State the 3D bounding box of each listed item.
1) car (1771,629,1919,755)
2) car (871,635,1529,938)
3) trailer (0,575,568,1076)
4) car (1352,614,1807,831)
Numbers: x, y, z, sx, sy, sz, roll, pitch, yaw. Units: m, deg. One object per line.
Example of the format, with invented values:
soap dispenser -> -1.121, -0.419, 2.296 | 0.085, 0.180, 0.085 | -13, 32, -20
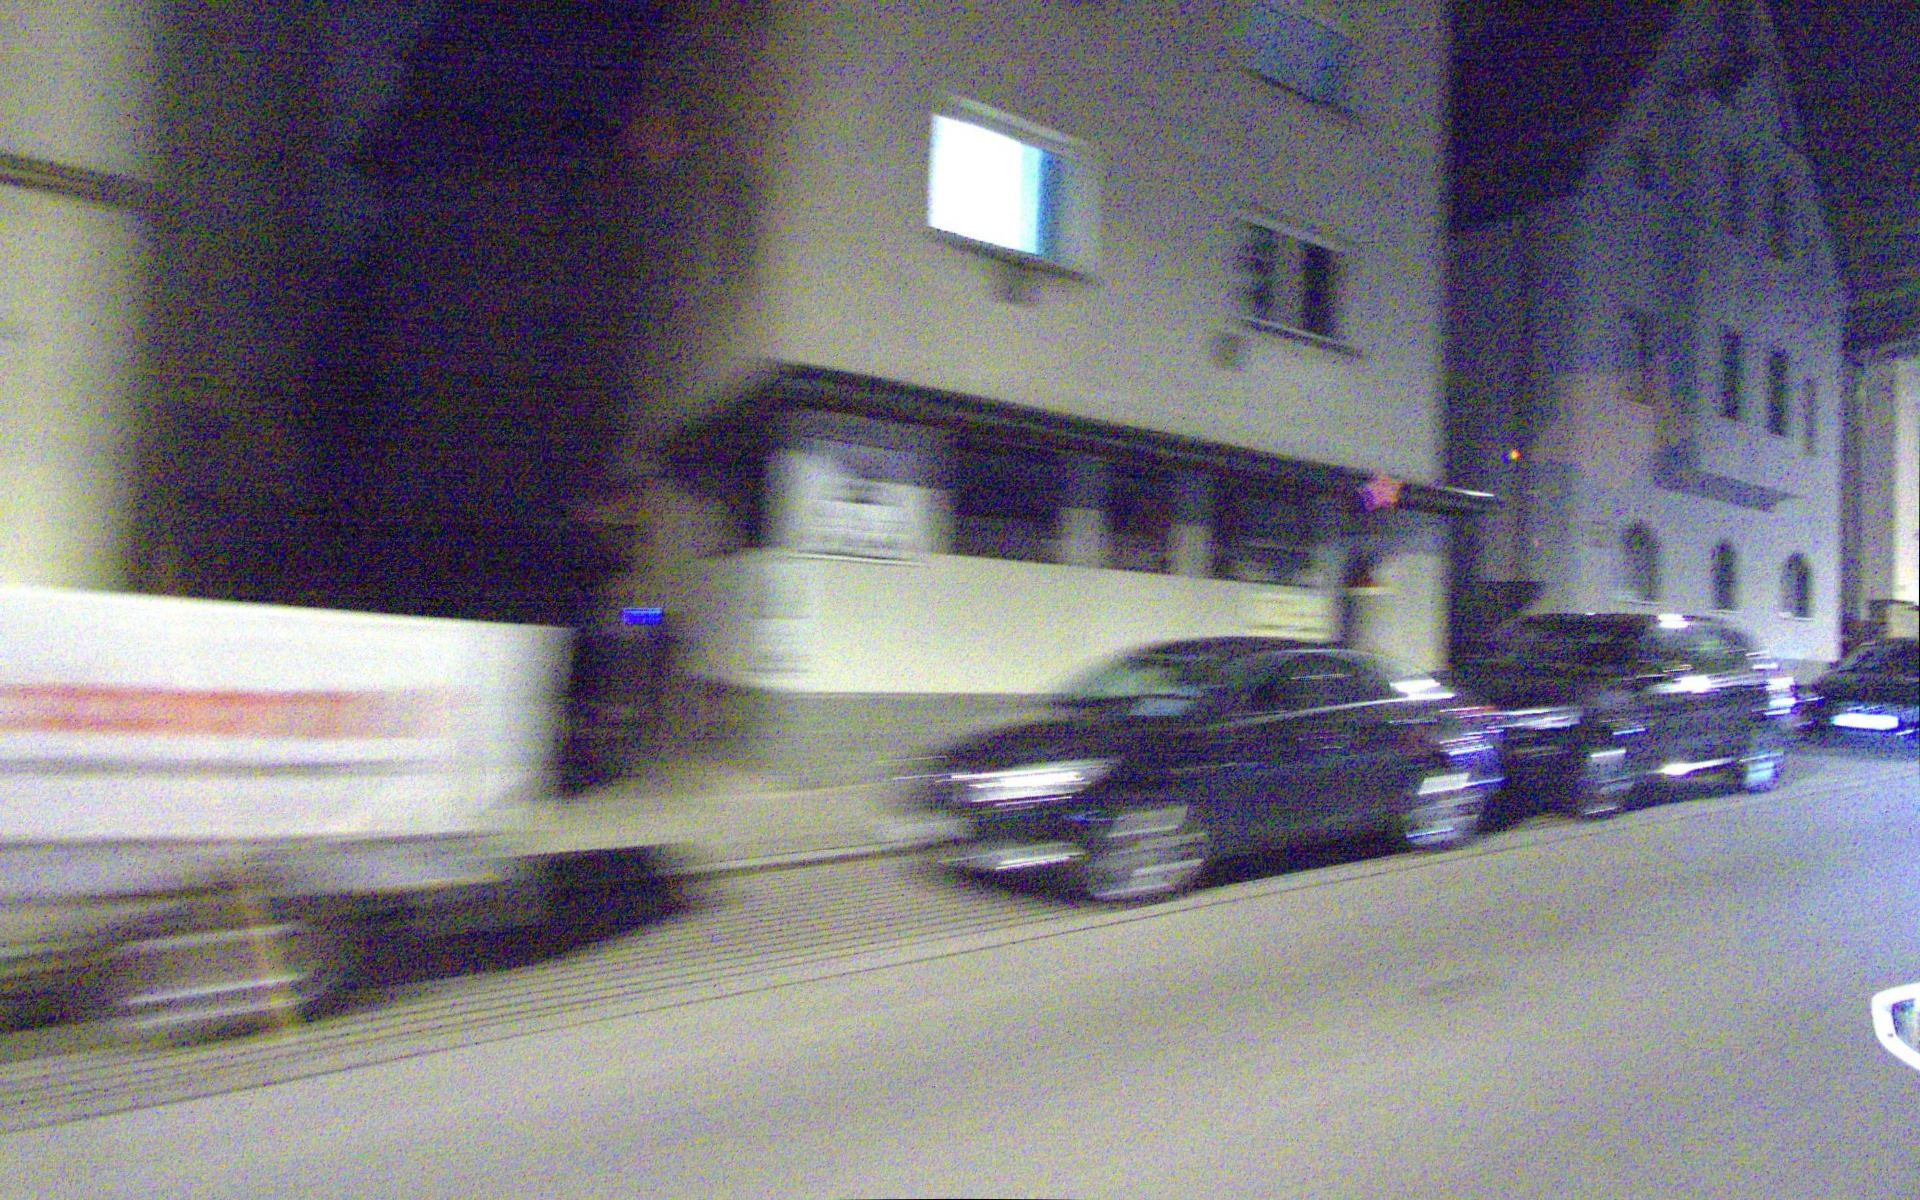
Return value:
car -> 13.155, 1.189, 13.791 | 4.232, 1.511, 1.854 | 2, -1, -32
car -> 1.793, 0.993, 6.974 | 4.493, 1.466, 1.825 | 1, -2, -32
trailer -> -3.490, 0.760, 4.101 | 3.394, 1.661, 1.632 | 2, -1, -26
car -> 5.983, 0.974, 9.578 | 4.491, 1.640, 1.826 | 1, -1, -30
